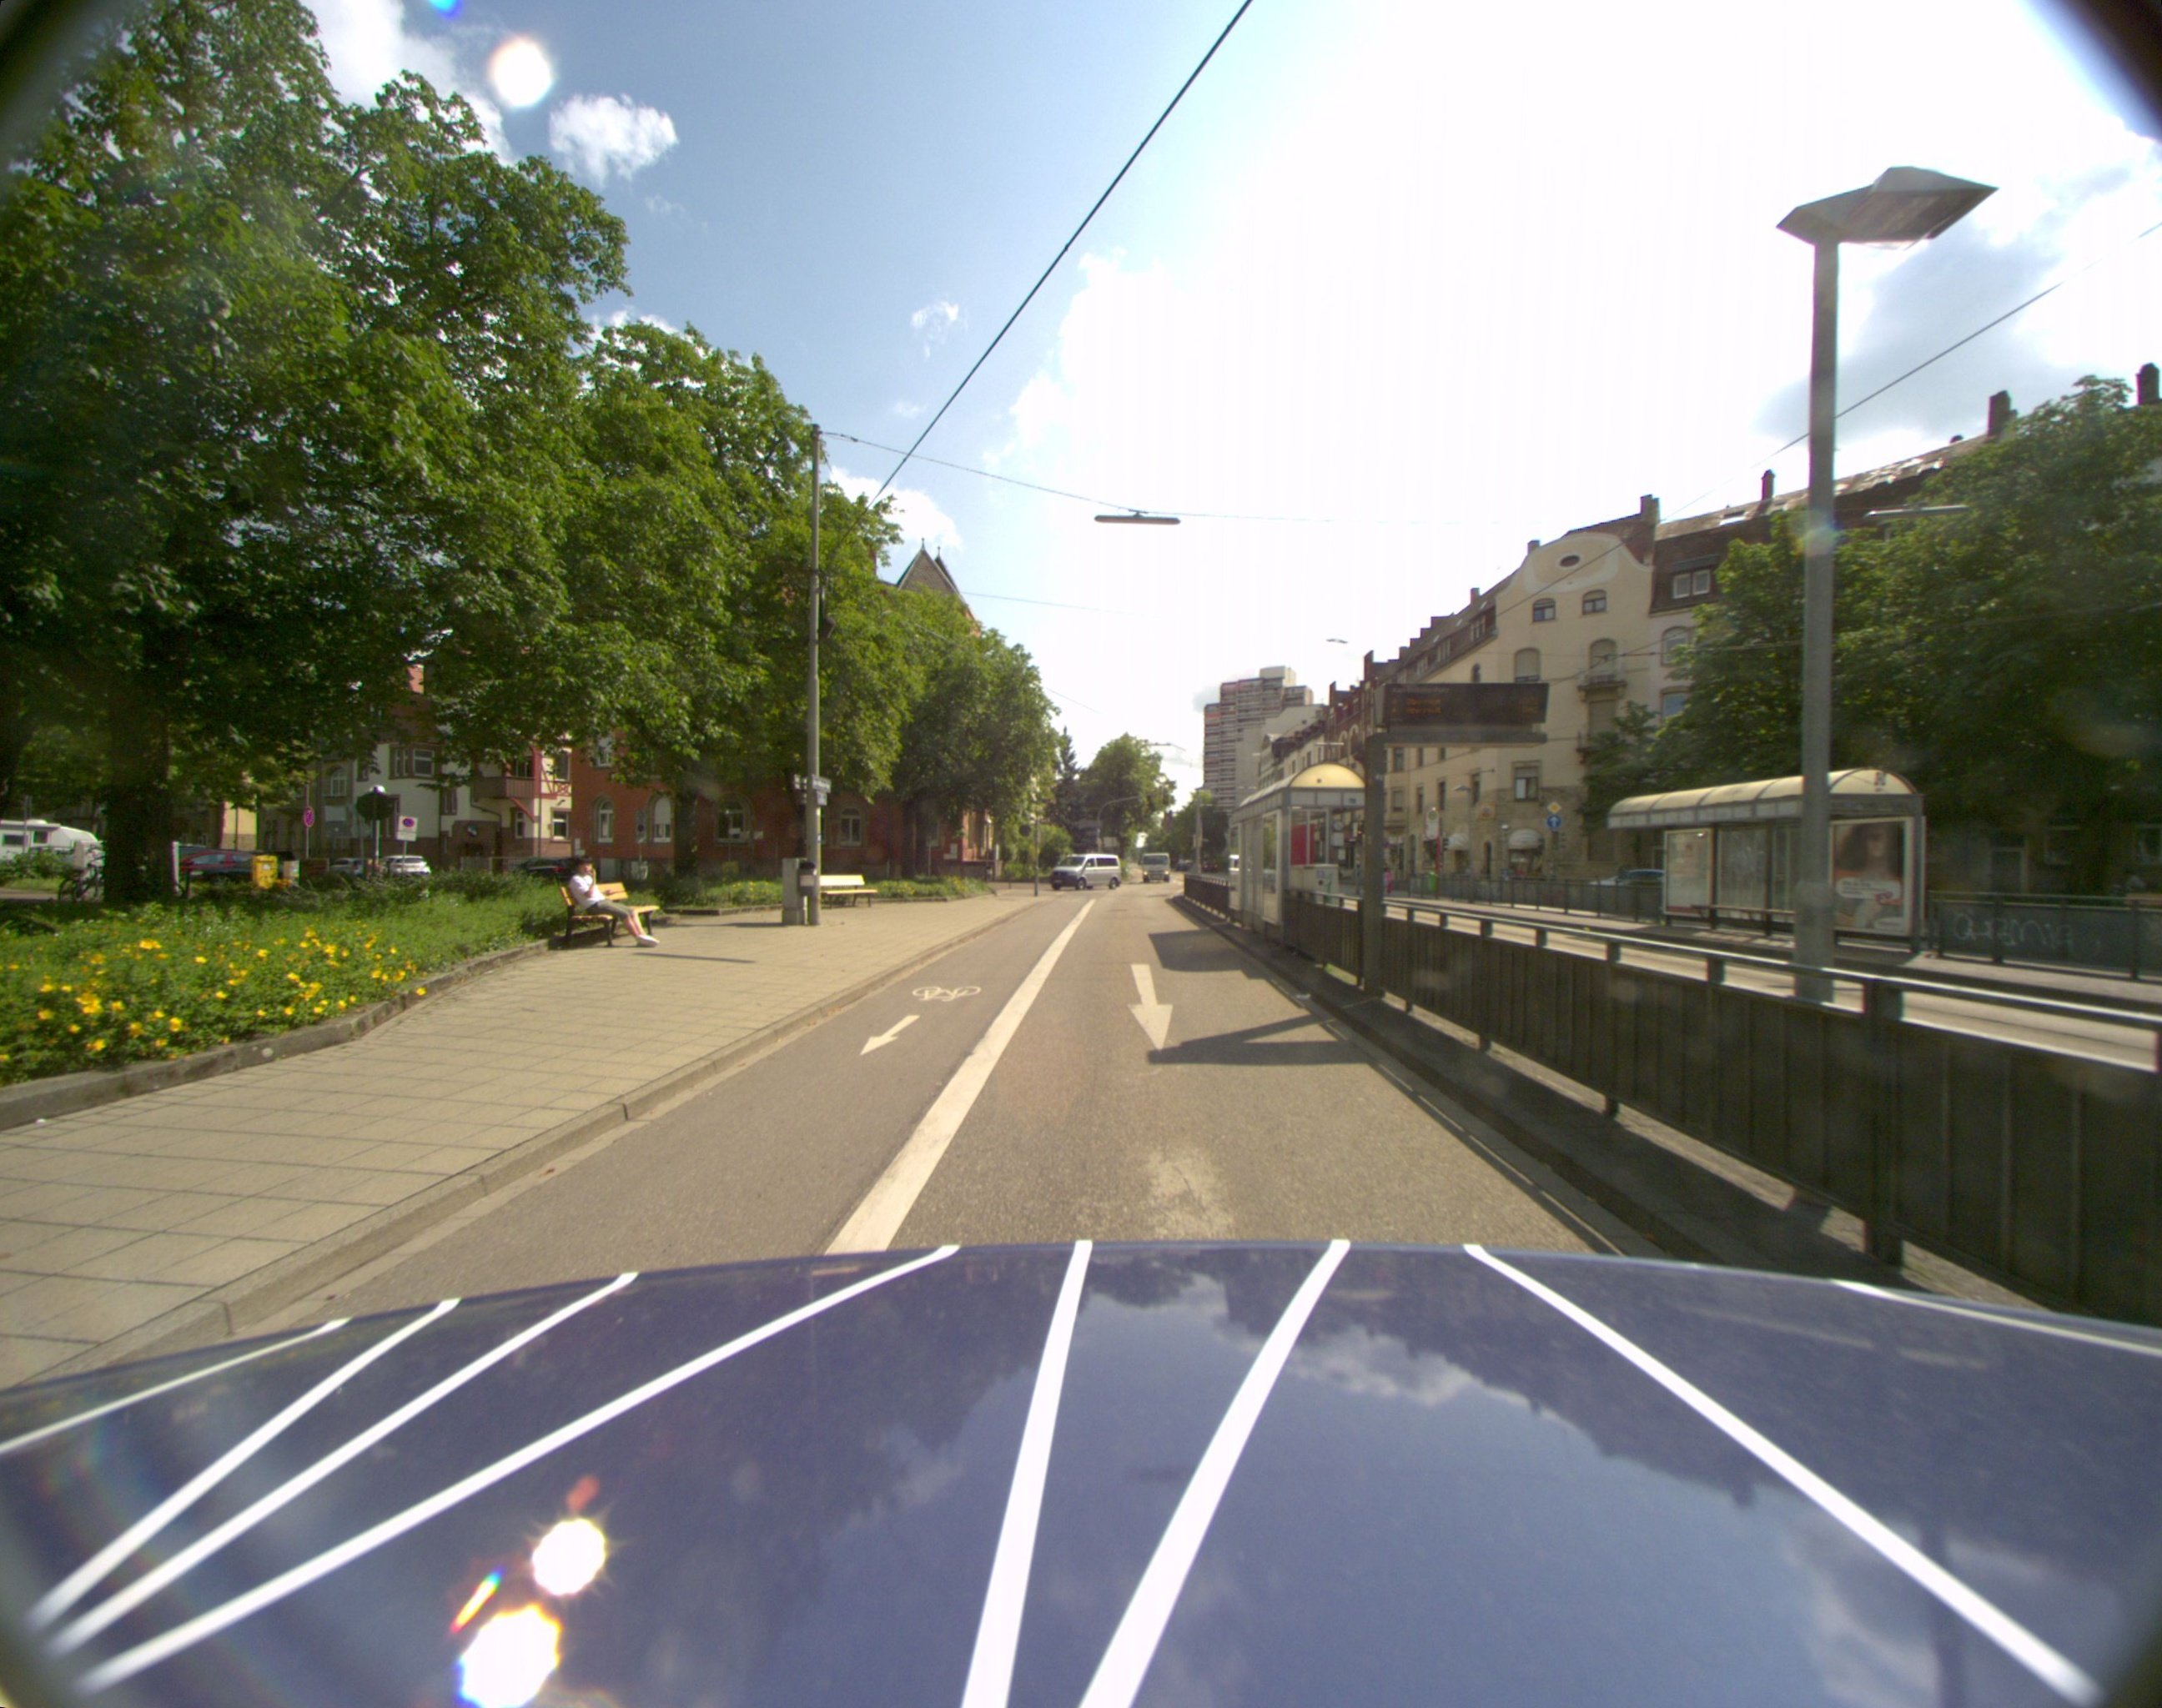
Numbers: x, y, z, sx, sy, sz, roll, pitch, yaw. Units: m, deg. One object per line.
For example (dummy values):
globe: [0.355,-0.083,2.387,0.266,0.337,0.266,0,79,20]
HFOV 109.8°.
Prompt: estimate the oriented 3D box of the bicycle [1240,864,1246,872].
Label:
bicycle: [21.202,1.854,99.201,0.587,0.980,1.874,0,1,7]

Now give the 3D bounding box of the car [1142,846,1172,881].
car: [5.833,0.727,58.397,2.166,2.572,5.666,0,0,5]

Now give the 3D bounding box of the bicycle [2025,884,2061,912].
bicycle: [35.259,1.603,27.840,2.034,0.893,0.545,-1,1,-31]

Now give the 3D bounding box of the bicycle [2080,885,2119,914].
bicycle: [35.787,1.594,26.695,2.034,0.893,0.570,-1,1,-30]

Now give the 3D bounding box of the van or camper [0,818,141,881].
van or camper: [-52.537,-0.214,37.842,2.116,3.020,6.846,1,0,23]

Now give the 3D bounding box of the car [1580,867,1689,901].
car: [25.756,1.351,35.446,1.725,1.411,3.862,1,0,-44]

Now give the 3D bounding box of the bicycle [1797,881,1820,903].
bicycle: [31.651,1.635,33.049,2.035,0.877,0.510,-1,1,-41]

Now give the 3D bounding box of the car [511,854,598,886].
car: [-26.002,0.771,37.506,3.989,1.477,1.940,0,0,29]

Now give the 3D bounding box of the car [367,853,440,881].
car: [-38.541,0.709,43.220,3.989,1.477,1.874,0,0,29]

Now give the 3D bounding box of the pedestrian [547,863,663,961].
pedestrian: [-6.587,0.787,10.546,1.195,1.261,0.558,3,0,-2]

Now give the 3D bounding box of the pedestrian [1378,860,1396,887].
pedestrian: [19.526,1.231,48.471,0.758,1.694,0.874,-4,0,2]

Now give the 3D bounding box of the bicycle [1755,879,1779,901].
bicycle: [30.757,1.613,34.059,2.035,0.877,0.510,-1,1,-41]

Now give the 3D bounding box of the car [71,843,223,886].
car: [-42.636,0.447,34.802,1.843,1.849,4.007,1,0,23]

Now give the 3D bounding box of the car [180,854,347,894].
car: [-31.440,0.723,29.387,1.798,1.433,4.007,1,0,22]

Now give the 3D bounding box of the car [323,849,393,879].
car: [-43.021,0.566,45.178,3.989,1.696,1.728,0,0,26]

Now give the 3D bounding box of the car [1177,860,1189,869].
car: [16.302,1.722,121.629,1.628,1.379,3.437,2,0,2]

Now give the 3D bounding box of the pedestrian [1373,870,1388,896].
pedestrian: [13.343,1.290,33.816,0.438,1.101,0.423,3,0,-1]

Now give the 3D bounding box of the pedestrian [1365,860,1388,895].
pedestrian: [13.380,1.037,34.437,0.730,1.556,0.799,1,0,-1]

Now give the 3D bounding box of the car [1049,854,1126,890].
car: [0.439,0.960,42.326,1.827,1.855,4.856,0,0,35]

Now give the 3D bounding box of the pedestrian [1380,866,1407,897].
pedestrian: [13.825,1.198,33.585,0.827,1.296,0.717,3,0,-2]

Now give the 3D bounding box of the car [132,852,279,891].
car: [-33.926,0.656,29.565,1.559,1.414,3.420,0,0,22]

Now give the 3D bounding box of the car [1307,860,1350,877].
car: [23.030,1.333,70.718,3.451,1.477,1.707,-2,0,4]

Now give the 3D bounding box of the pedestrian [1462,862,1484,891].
pedestrian: [21.614,1.247,41.927,0.695,1.532,0.964,-4,0,4]

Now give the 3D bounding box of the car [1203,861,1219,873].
car: [19.209,1.867,112.347,1.795,1.701,4.332,1,0,2]

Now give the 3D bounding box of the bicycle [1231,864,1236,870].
bicycle: [21.119,1.783,105.373,0.587,0.792,1.874,-2,0,7]

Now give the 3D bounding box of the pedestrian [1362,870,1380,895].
pedestrian: [13.351,1.305,35.009,0.643,1.107,0.444,1,0,-2]

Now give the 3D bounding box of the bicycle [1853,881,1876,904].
bicycle: [32.712,1.595,31.705,2.035,0.877,0.545,-1,1,-41]
